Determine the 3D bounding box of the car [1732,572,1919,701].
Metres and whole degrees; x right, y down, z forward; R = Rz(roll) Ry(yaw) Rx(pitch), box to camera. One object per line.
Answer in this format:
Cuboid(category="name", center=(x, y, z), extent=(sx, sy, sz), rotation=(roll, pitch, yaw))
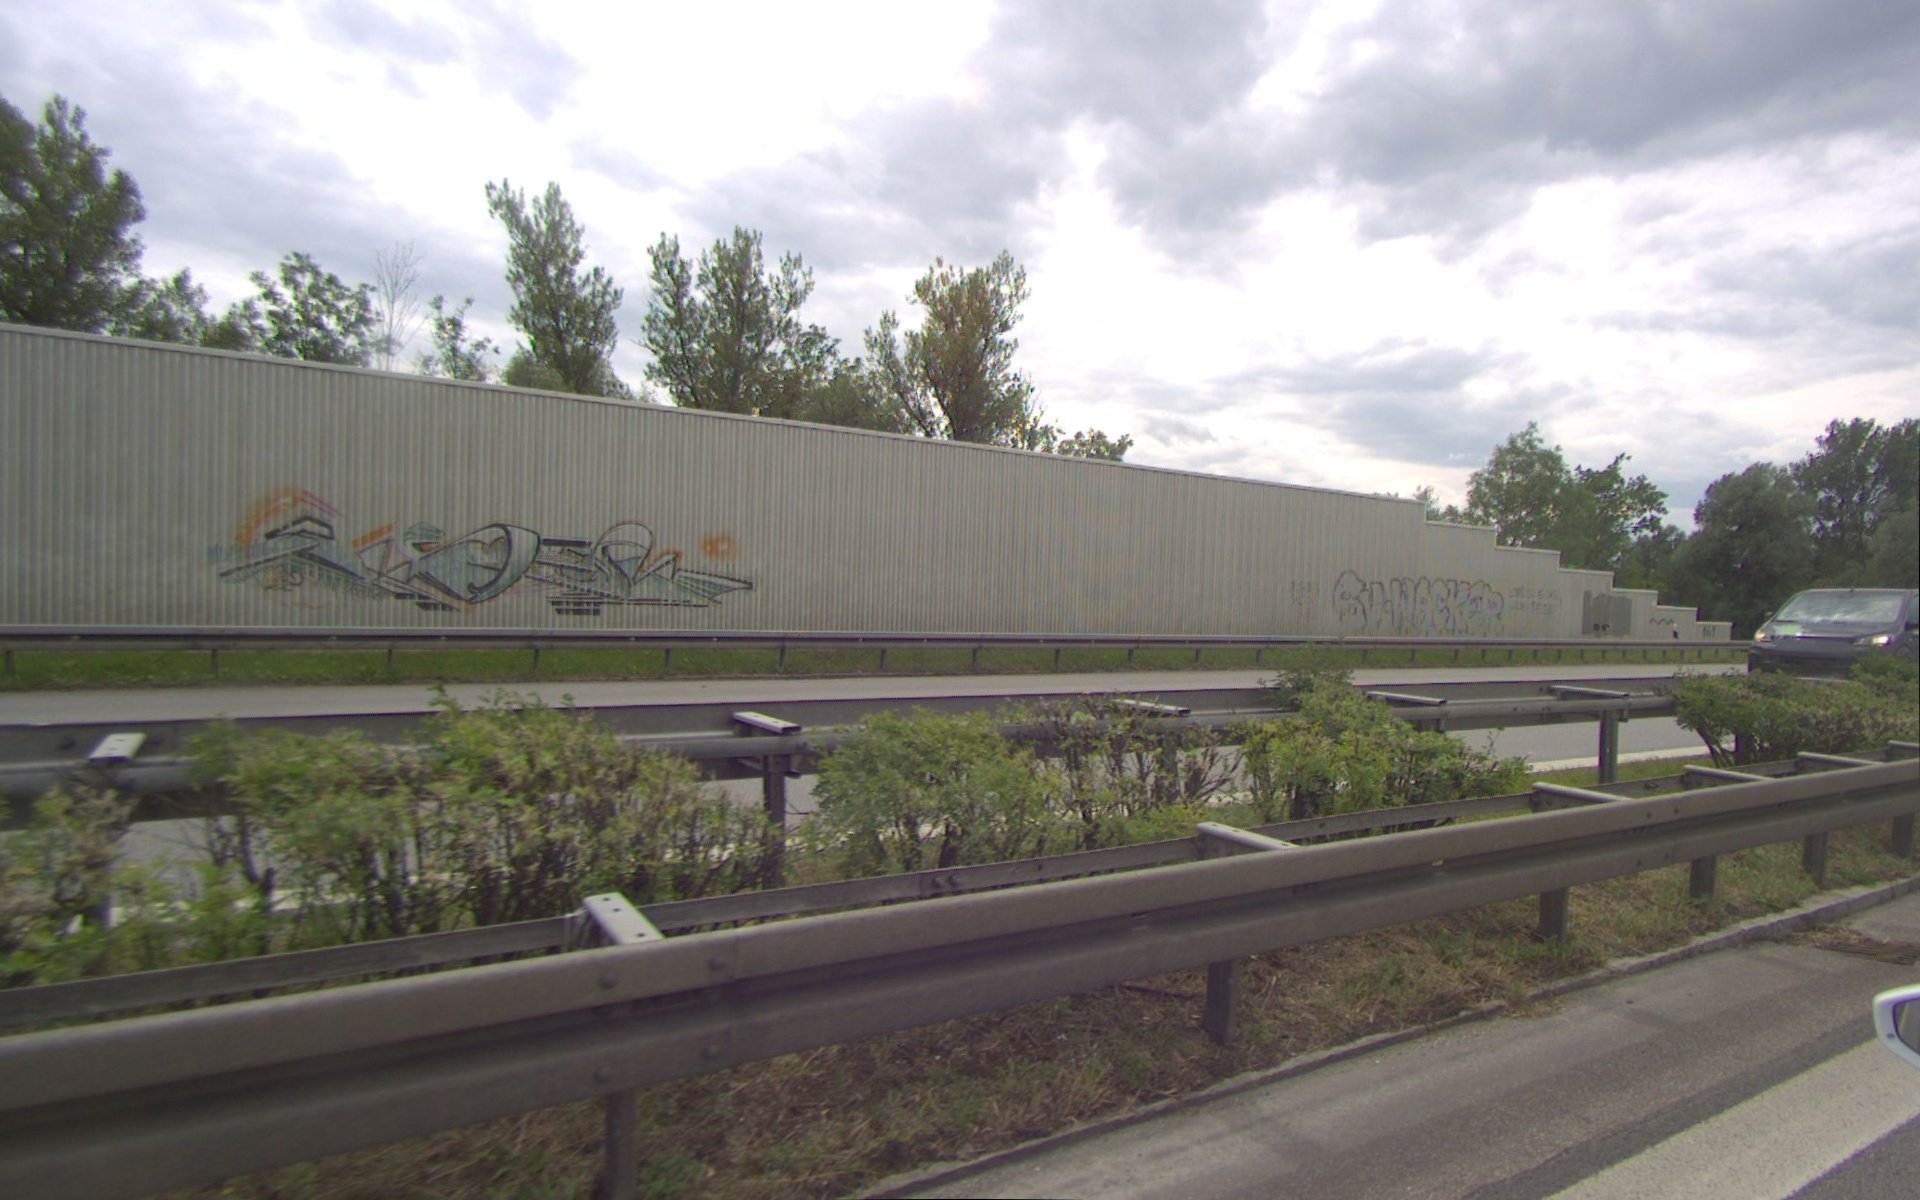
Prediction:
Cuboid(category="car", center=(15.188, 0.573, 16.908), extent=(4.503, 1.911, 1.983), rotation=(1, 0, -31))
